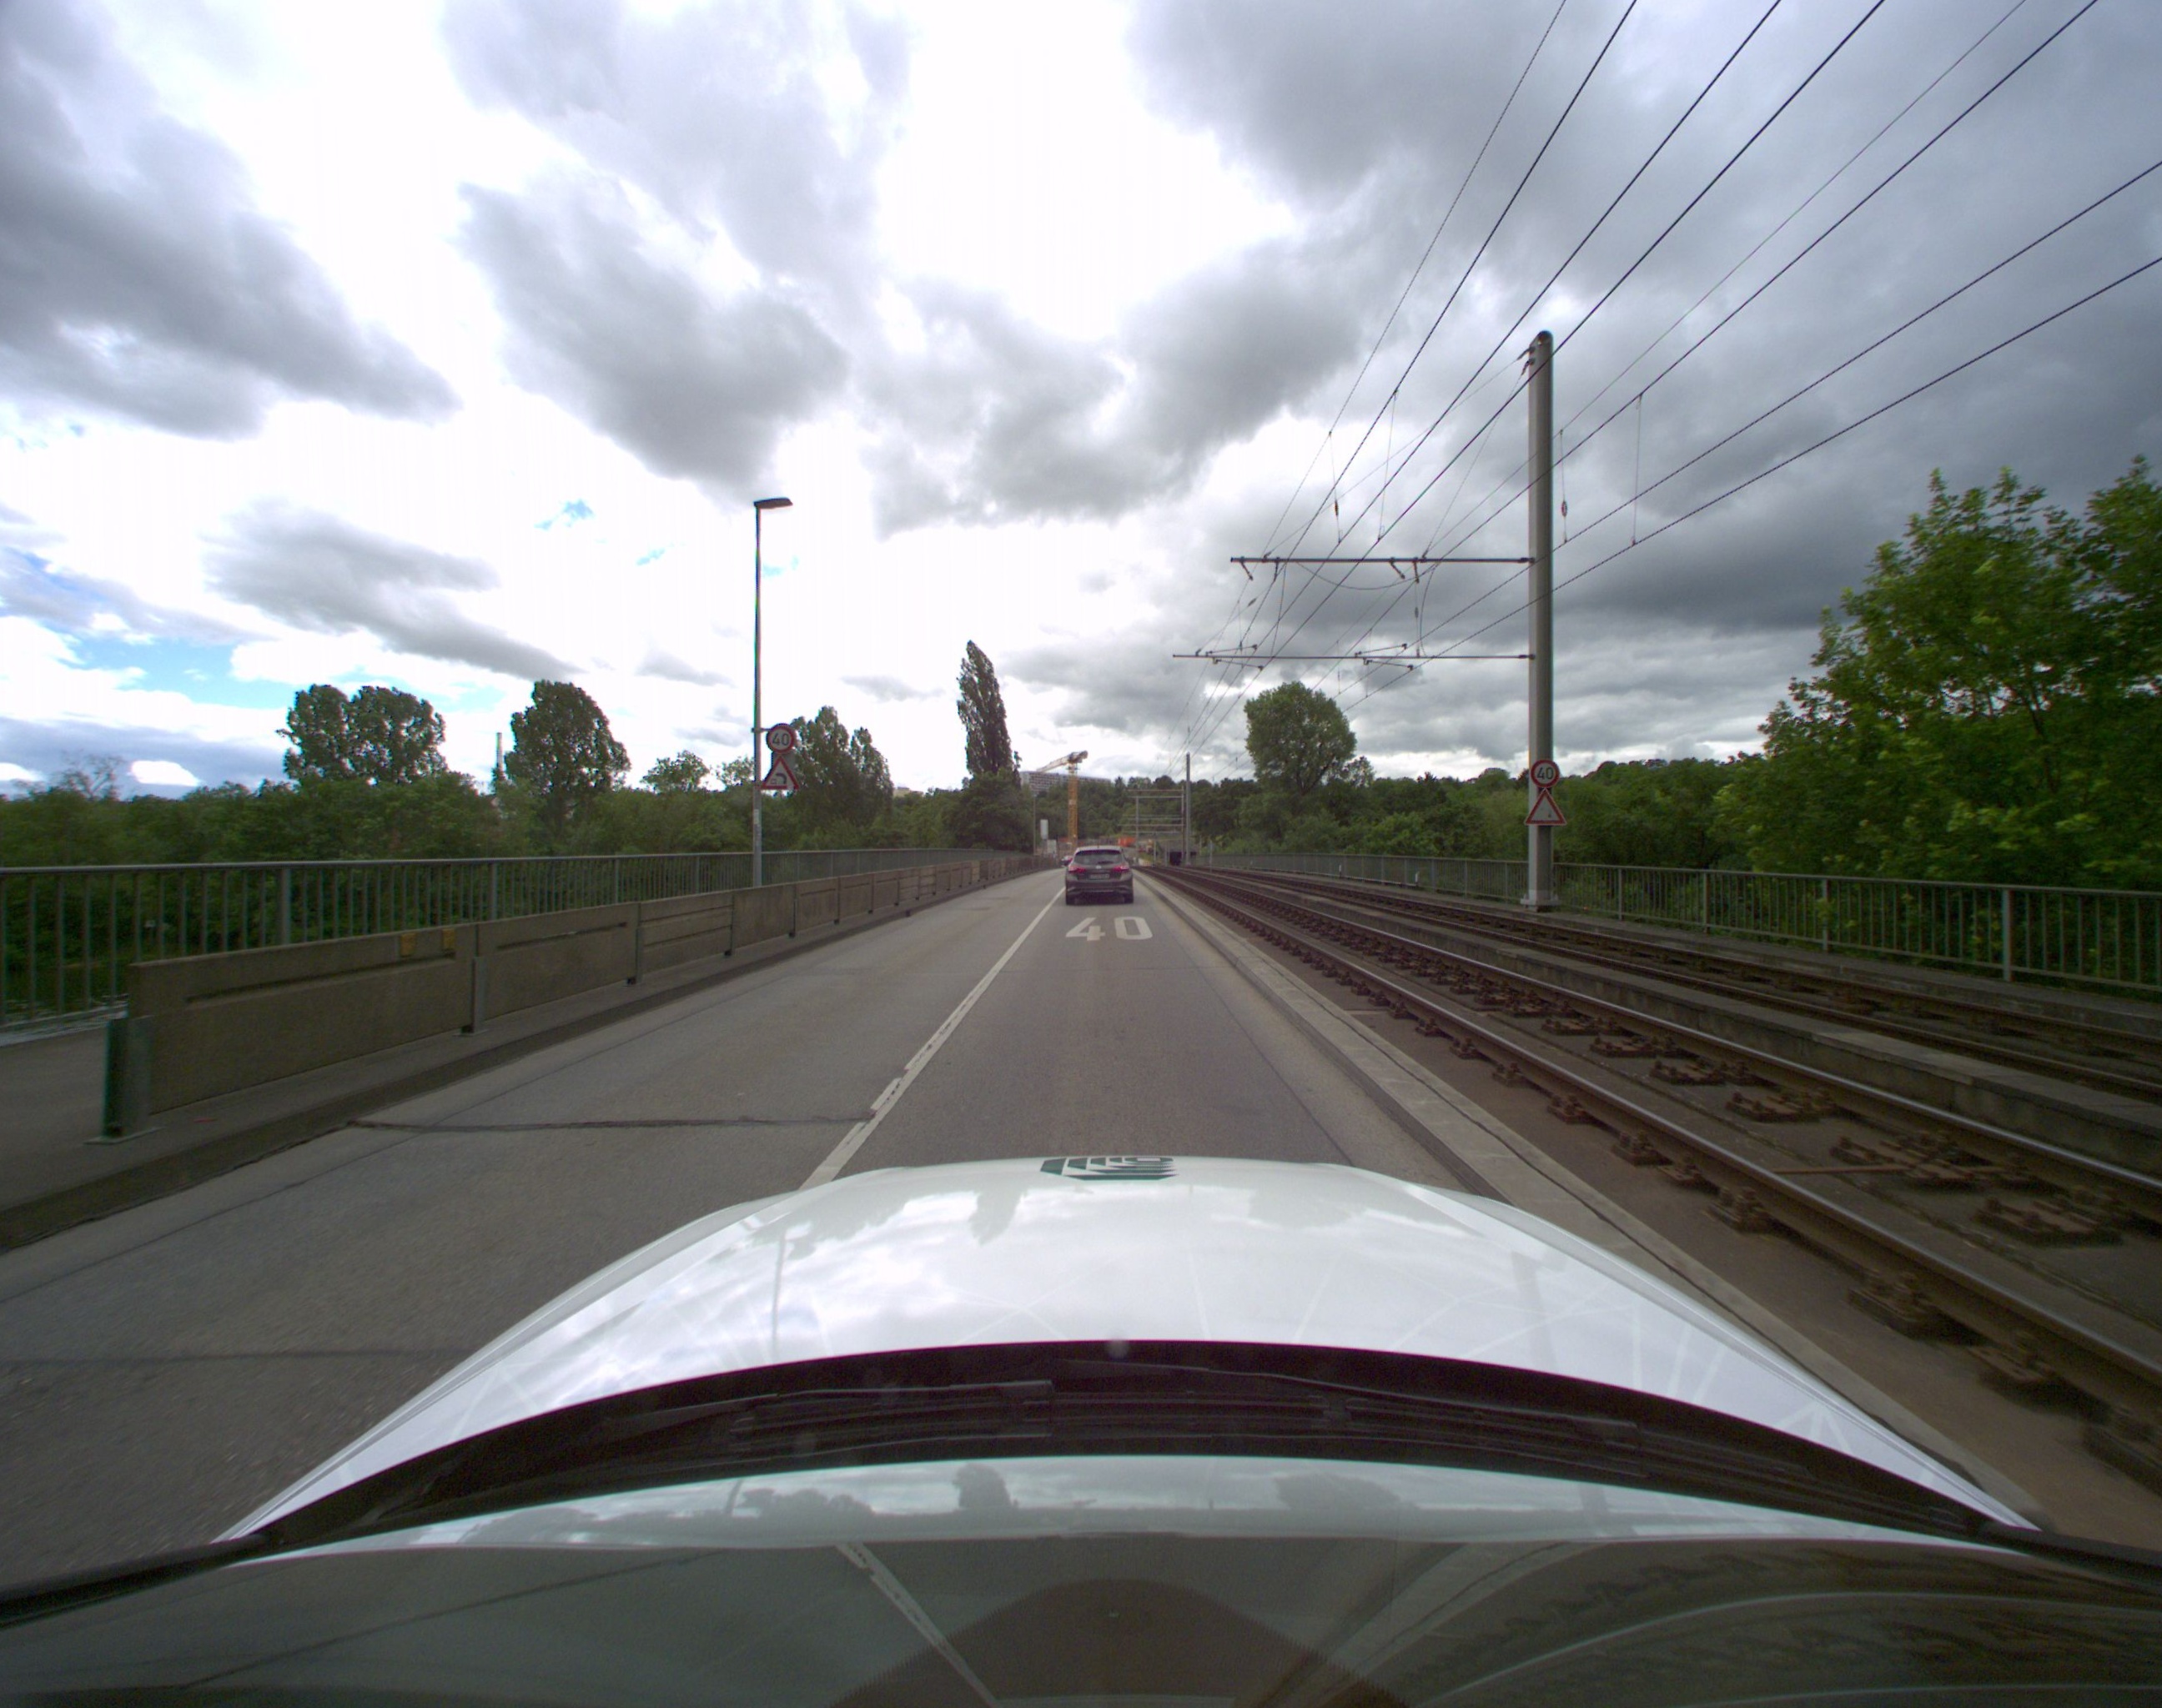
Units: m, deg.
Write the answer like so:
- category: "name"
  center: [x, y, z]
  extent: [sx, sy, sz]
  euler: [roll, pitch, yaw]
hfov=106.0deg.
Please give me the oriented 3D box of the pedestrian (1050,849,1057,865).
- category: "pedestrian"
  center: [-2.985, 0.309, 89.931]
  extent: [0.718, 1.701, 0.723]
  euler: [-1, -1, 1]

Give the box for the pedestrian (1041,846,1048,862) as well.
- category: "pedestrian"
  center: [-4.073, 0.011, 90.792]
  extent: [0.718, 1.839, 0.723]
  euler: [-1, -1, 1]

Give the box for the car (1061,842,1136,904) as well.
- category: "car"
  center: [0.385, 0.491, 22.463]
  extent: [1.825, 1.510, 3.997]
  euler: [-1, -1, -2]
